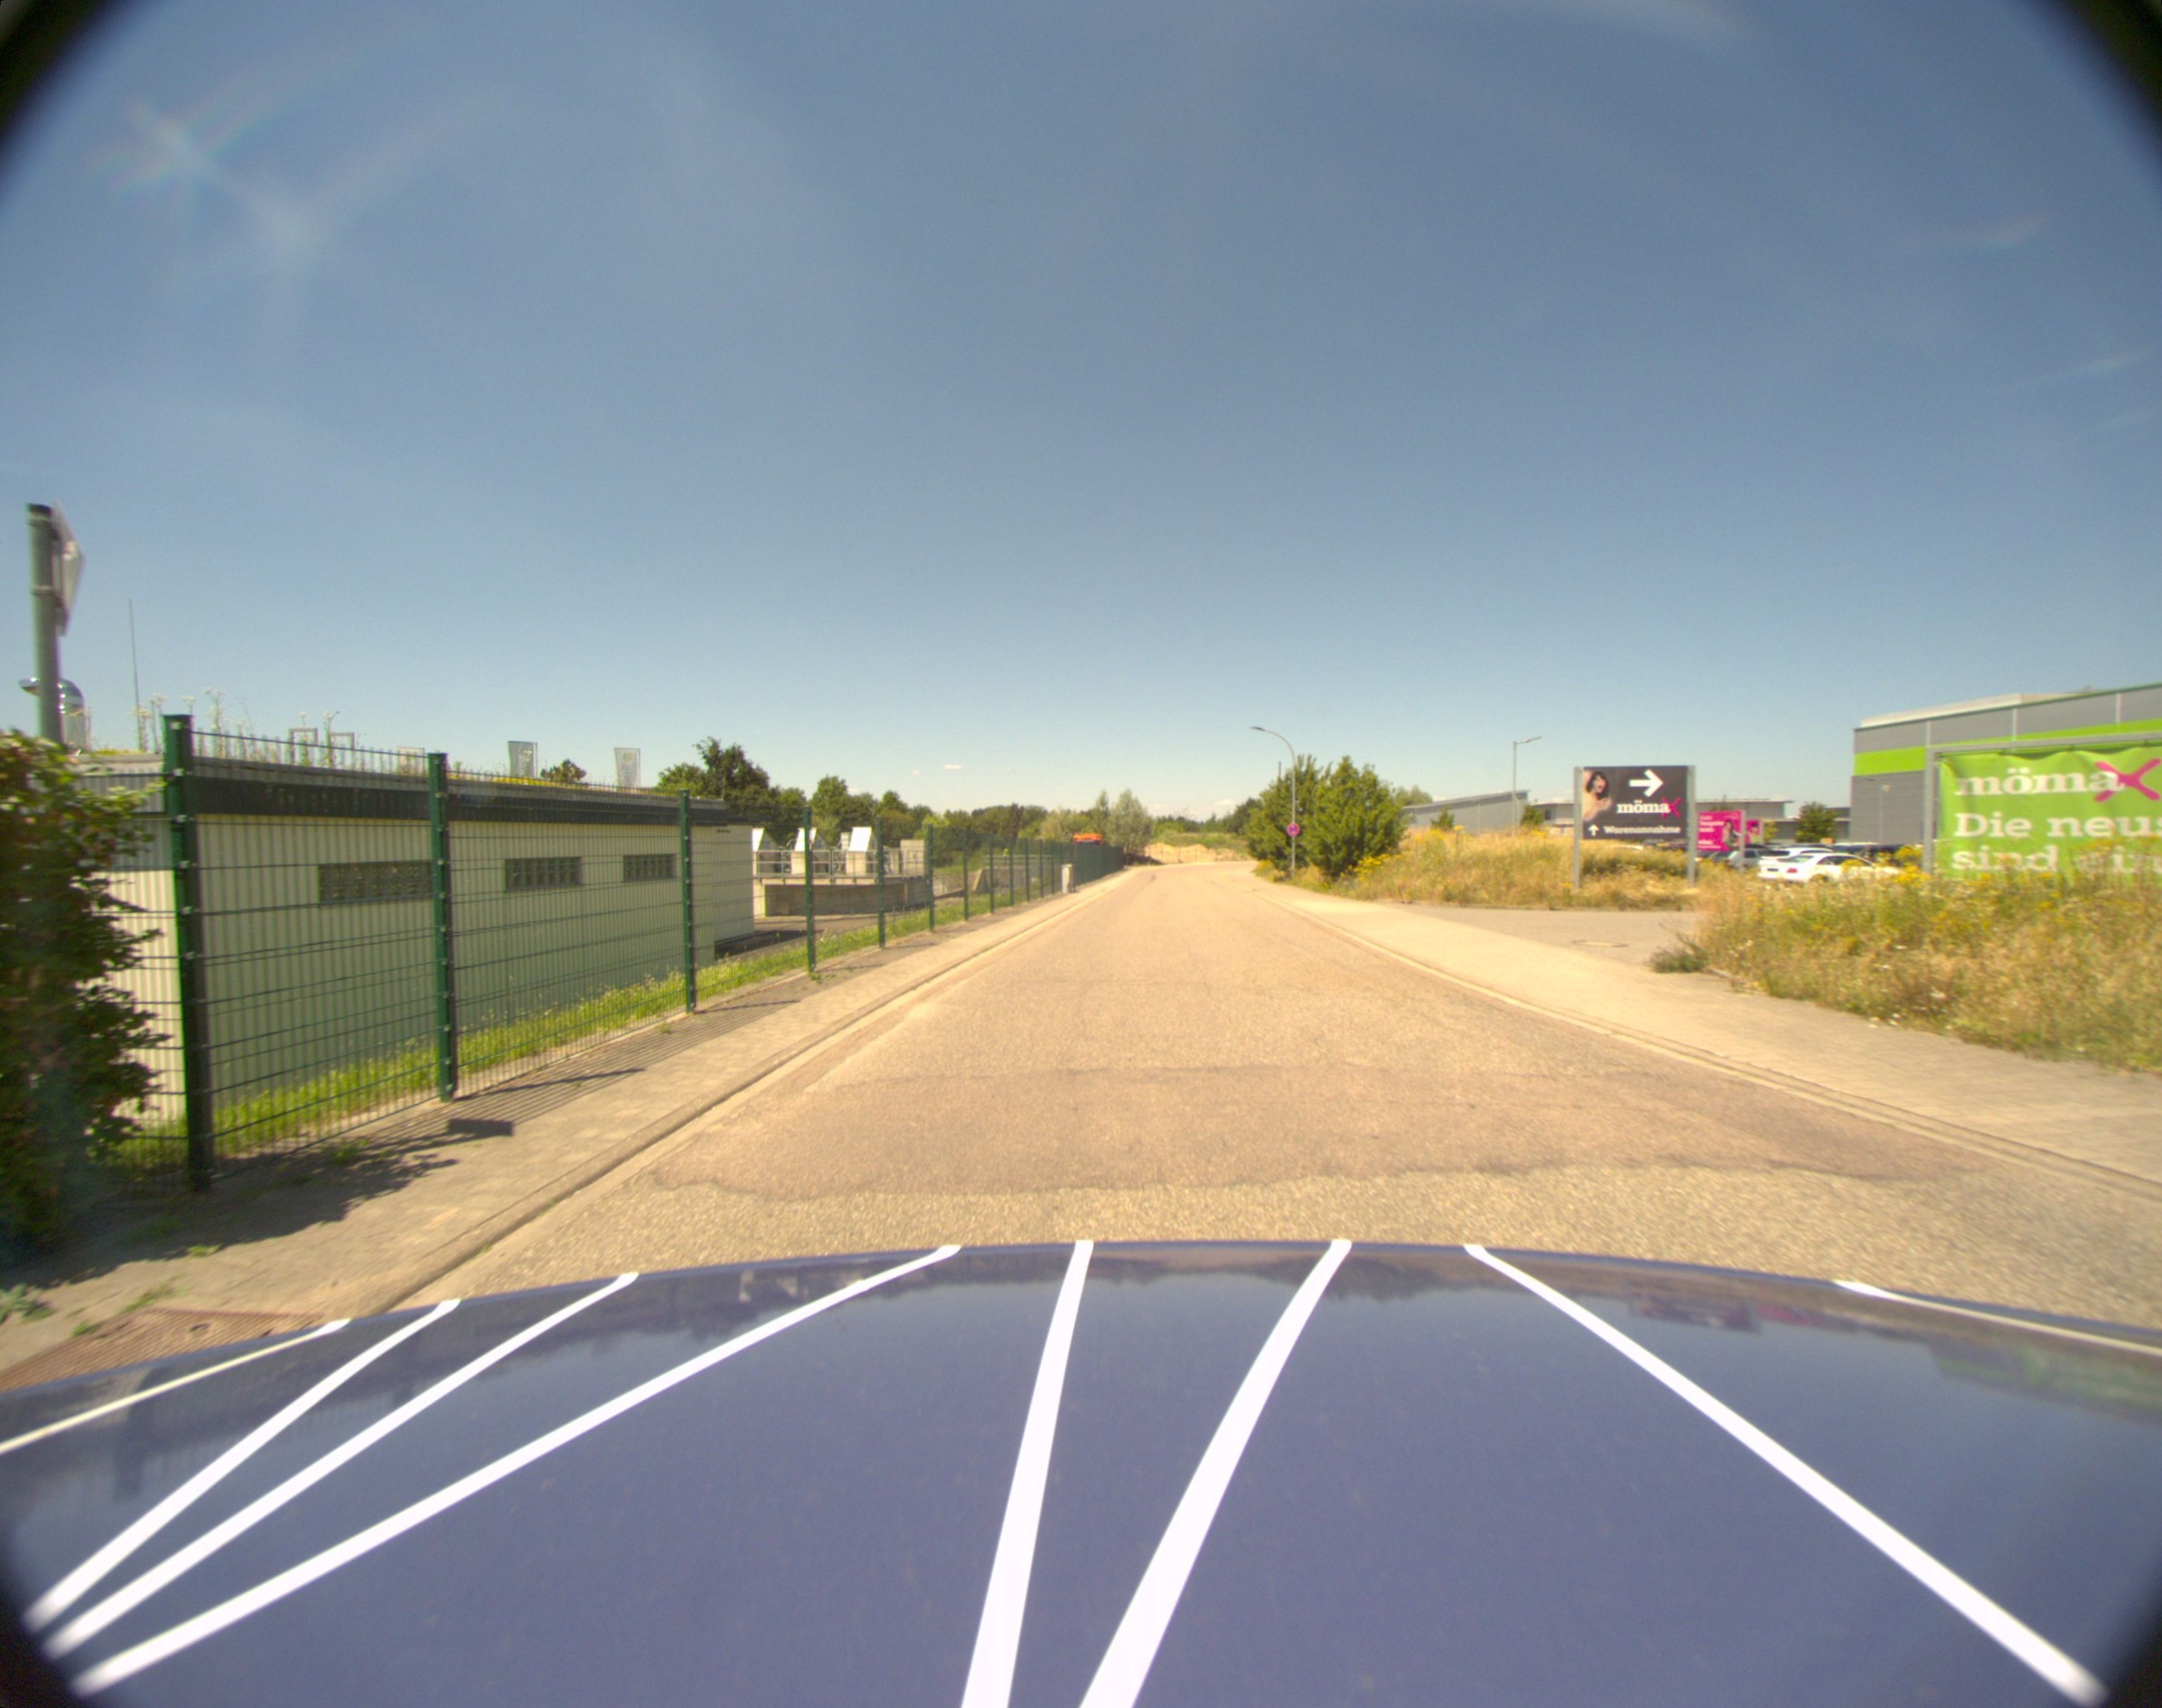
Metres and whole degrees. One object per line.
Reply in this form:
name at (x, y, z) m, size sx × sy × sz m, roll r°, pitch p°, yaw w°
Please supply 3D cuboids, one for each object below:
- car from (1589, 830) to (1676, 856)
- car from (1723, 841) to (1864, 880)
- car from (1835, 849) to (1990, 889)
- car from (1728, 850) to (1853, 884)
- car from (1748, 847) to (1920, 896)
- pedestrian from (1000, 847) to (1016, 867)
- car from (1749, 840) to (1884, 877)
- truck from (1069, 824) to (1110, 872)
car at (37.488, -0.722, 51.762) m, size 4.353 × 1.535 × 1.874 m, roll -3°, pitch -1°, yaw 12°
car at (32.628, 0.312, 34.913) m, size 4.354 × 1.535 × 1.873 m, roll -3°, pitch -1°, yaw 9°
car at (37.103, 0.663, 34.041) m, size 4.353 × 1.535 × 1.874 m, roll -3°, pitch -1°, yaw 12°
car at (36.504, 0.682, 39.219) m, size 4.353 × 1.535 × 1.874 m, roll -3°, pitch -1°, yaw 12°
car at (27.956, 0.643, 28.325) m, size 4.356 × 1.535 × 1.873 m, roll -3°, pitch -1°, yaw 3°
pedestrian at (-7.471, 0.326, 77.963) m, size 1.304 × 2.001 × 1.217 m, roll -2°, pitch 0°, yaw 6°
car at (35.812, 0.221, 37.127) m, size 4.353 × 1.535 × 1.874 m, roll -3°, pitch -1°, yaw 12°
truck at (0.901, -0.457, 71.812) m, size 2.845 × 4.171 × 8.137 m, roll -2°, pitch -1°, yaw 6°
